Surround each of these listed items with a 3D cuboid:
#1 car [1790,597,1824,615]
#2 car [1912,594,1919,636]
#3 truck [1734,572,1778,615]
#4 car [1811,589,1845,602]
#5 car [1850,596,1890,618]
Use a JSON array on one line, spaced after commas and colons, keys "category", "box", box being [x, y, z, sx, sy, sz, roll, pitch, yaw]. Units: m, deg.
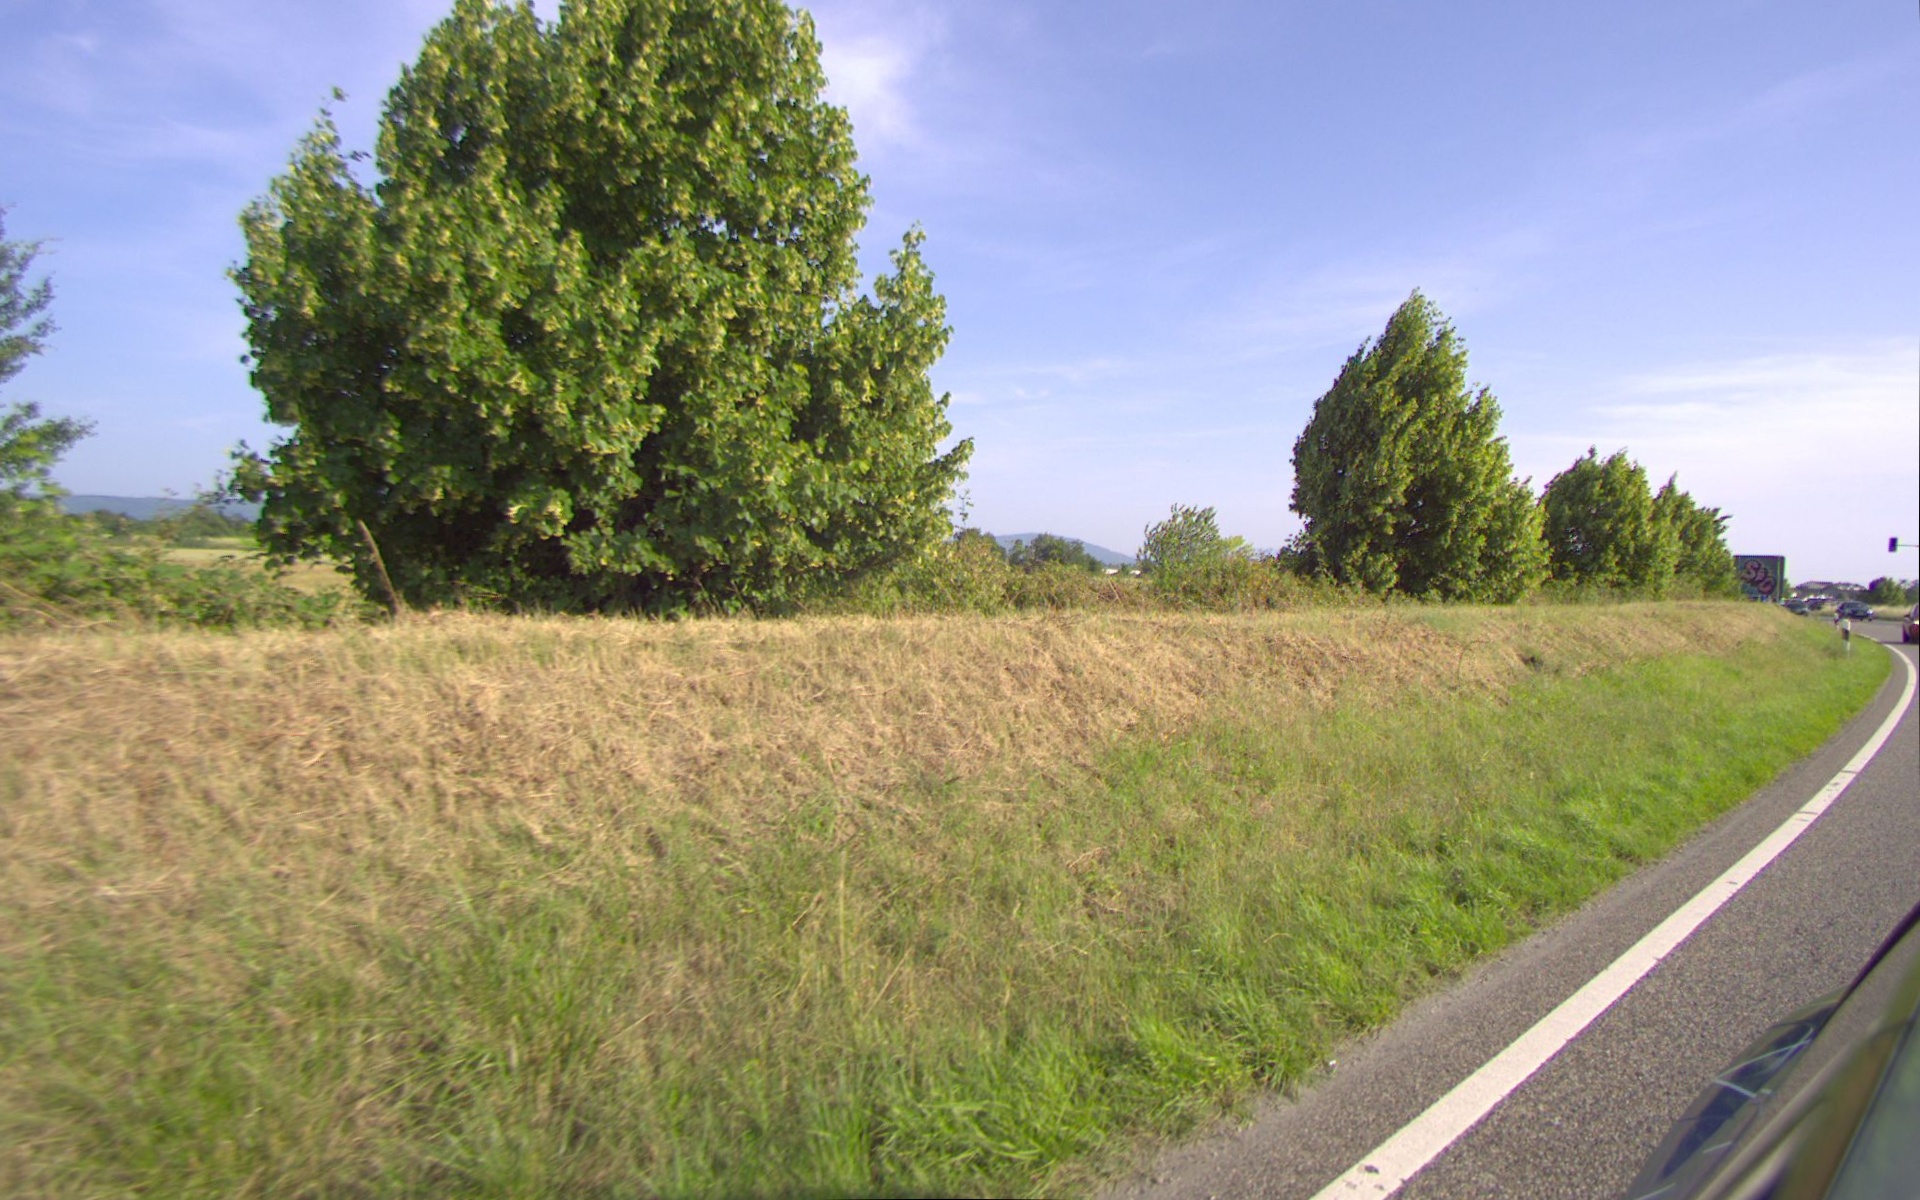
[{"category": "car", "box": [79.711, 0.535, 95.288, 1.818, 1.549, 3.956, 1, 1, 31]}, {"category": "car", "box": [35.861, 0.564, 36.651, 1.658, 1.482, 3.900, 1, 1, 38]}, {"category": "truck", "box": [75.970, -0.663, 96.638, 2.633, 3.968, 5.883, 0, 1, 32]}, {"category": "car", "box": [106.746, -0.569, 124.530, 1.897, 1.585, 4.574, 1, 1, 23]}, {"category": "car", "box": [68.945, 0.515, 76.686, 1.742, 1.549, 3.950, 1, 1, 35]}]
